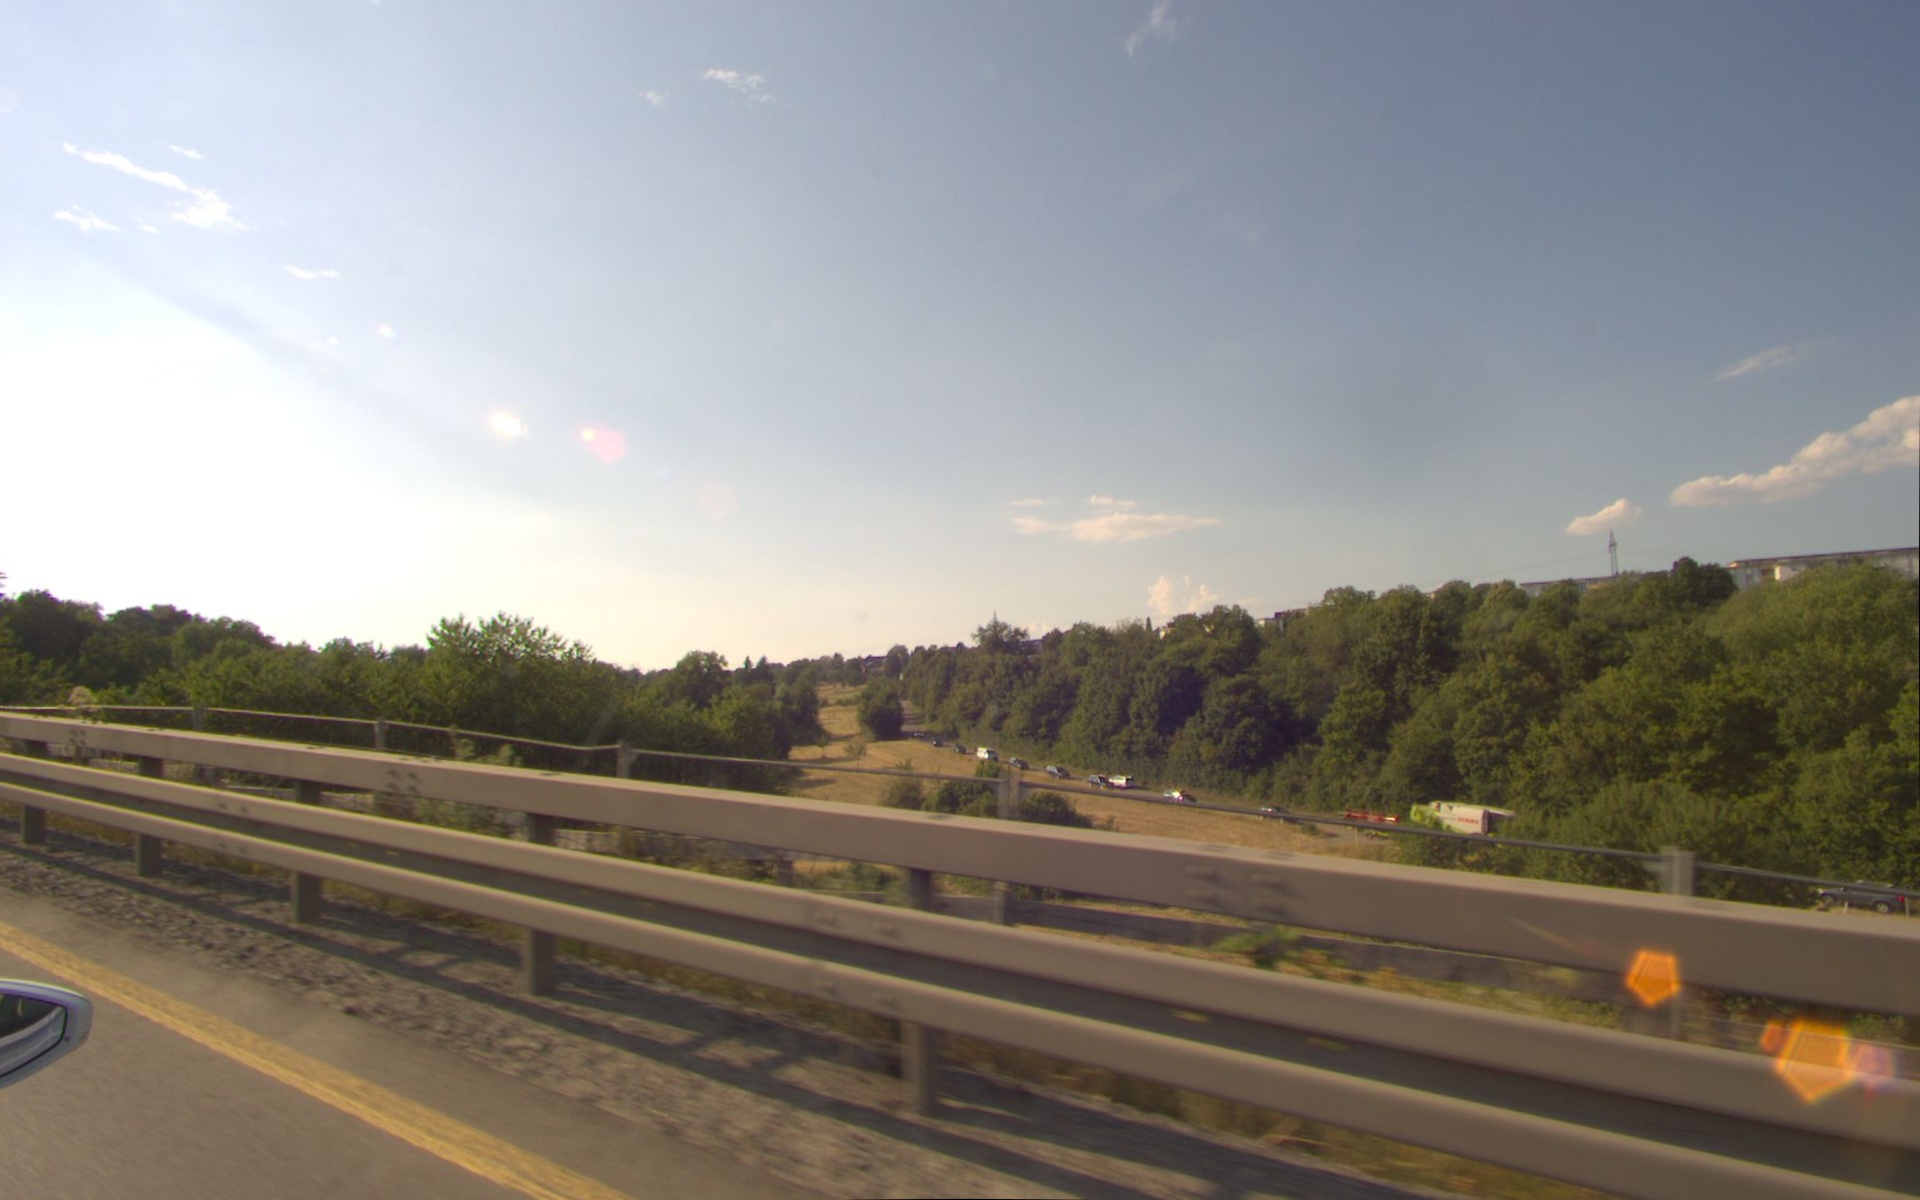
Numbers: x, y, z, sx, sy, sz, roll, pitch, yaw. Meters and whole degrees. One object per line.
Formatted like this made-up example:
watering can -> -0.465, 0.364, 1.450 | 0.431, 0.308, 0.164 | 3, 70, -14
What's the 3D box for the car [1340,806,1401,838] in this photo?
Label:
car -> 36.834, 19.918, 90.049 | 1.684, 1.858, 5.103 | 0, -2, -31
